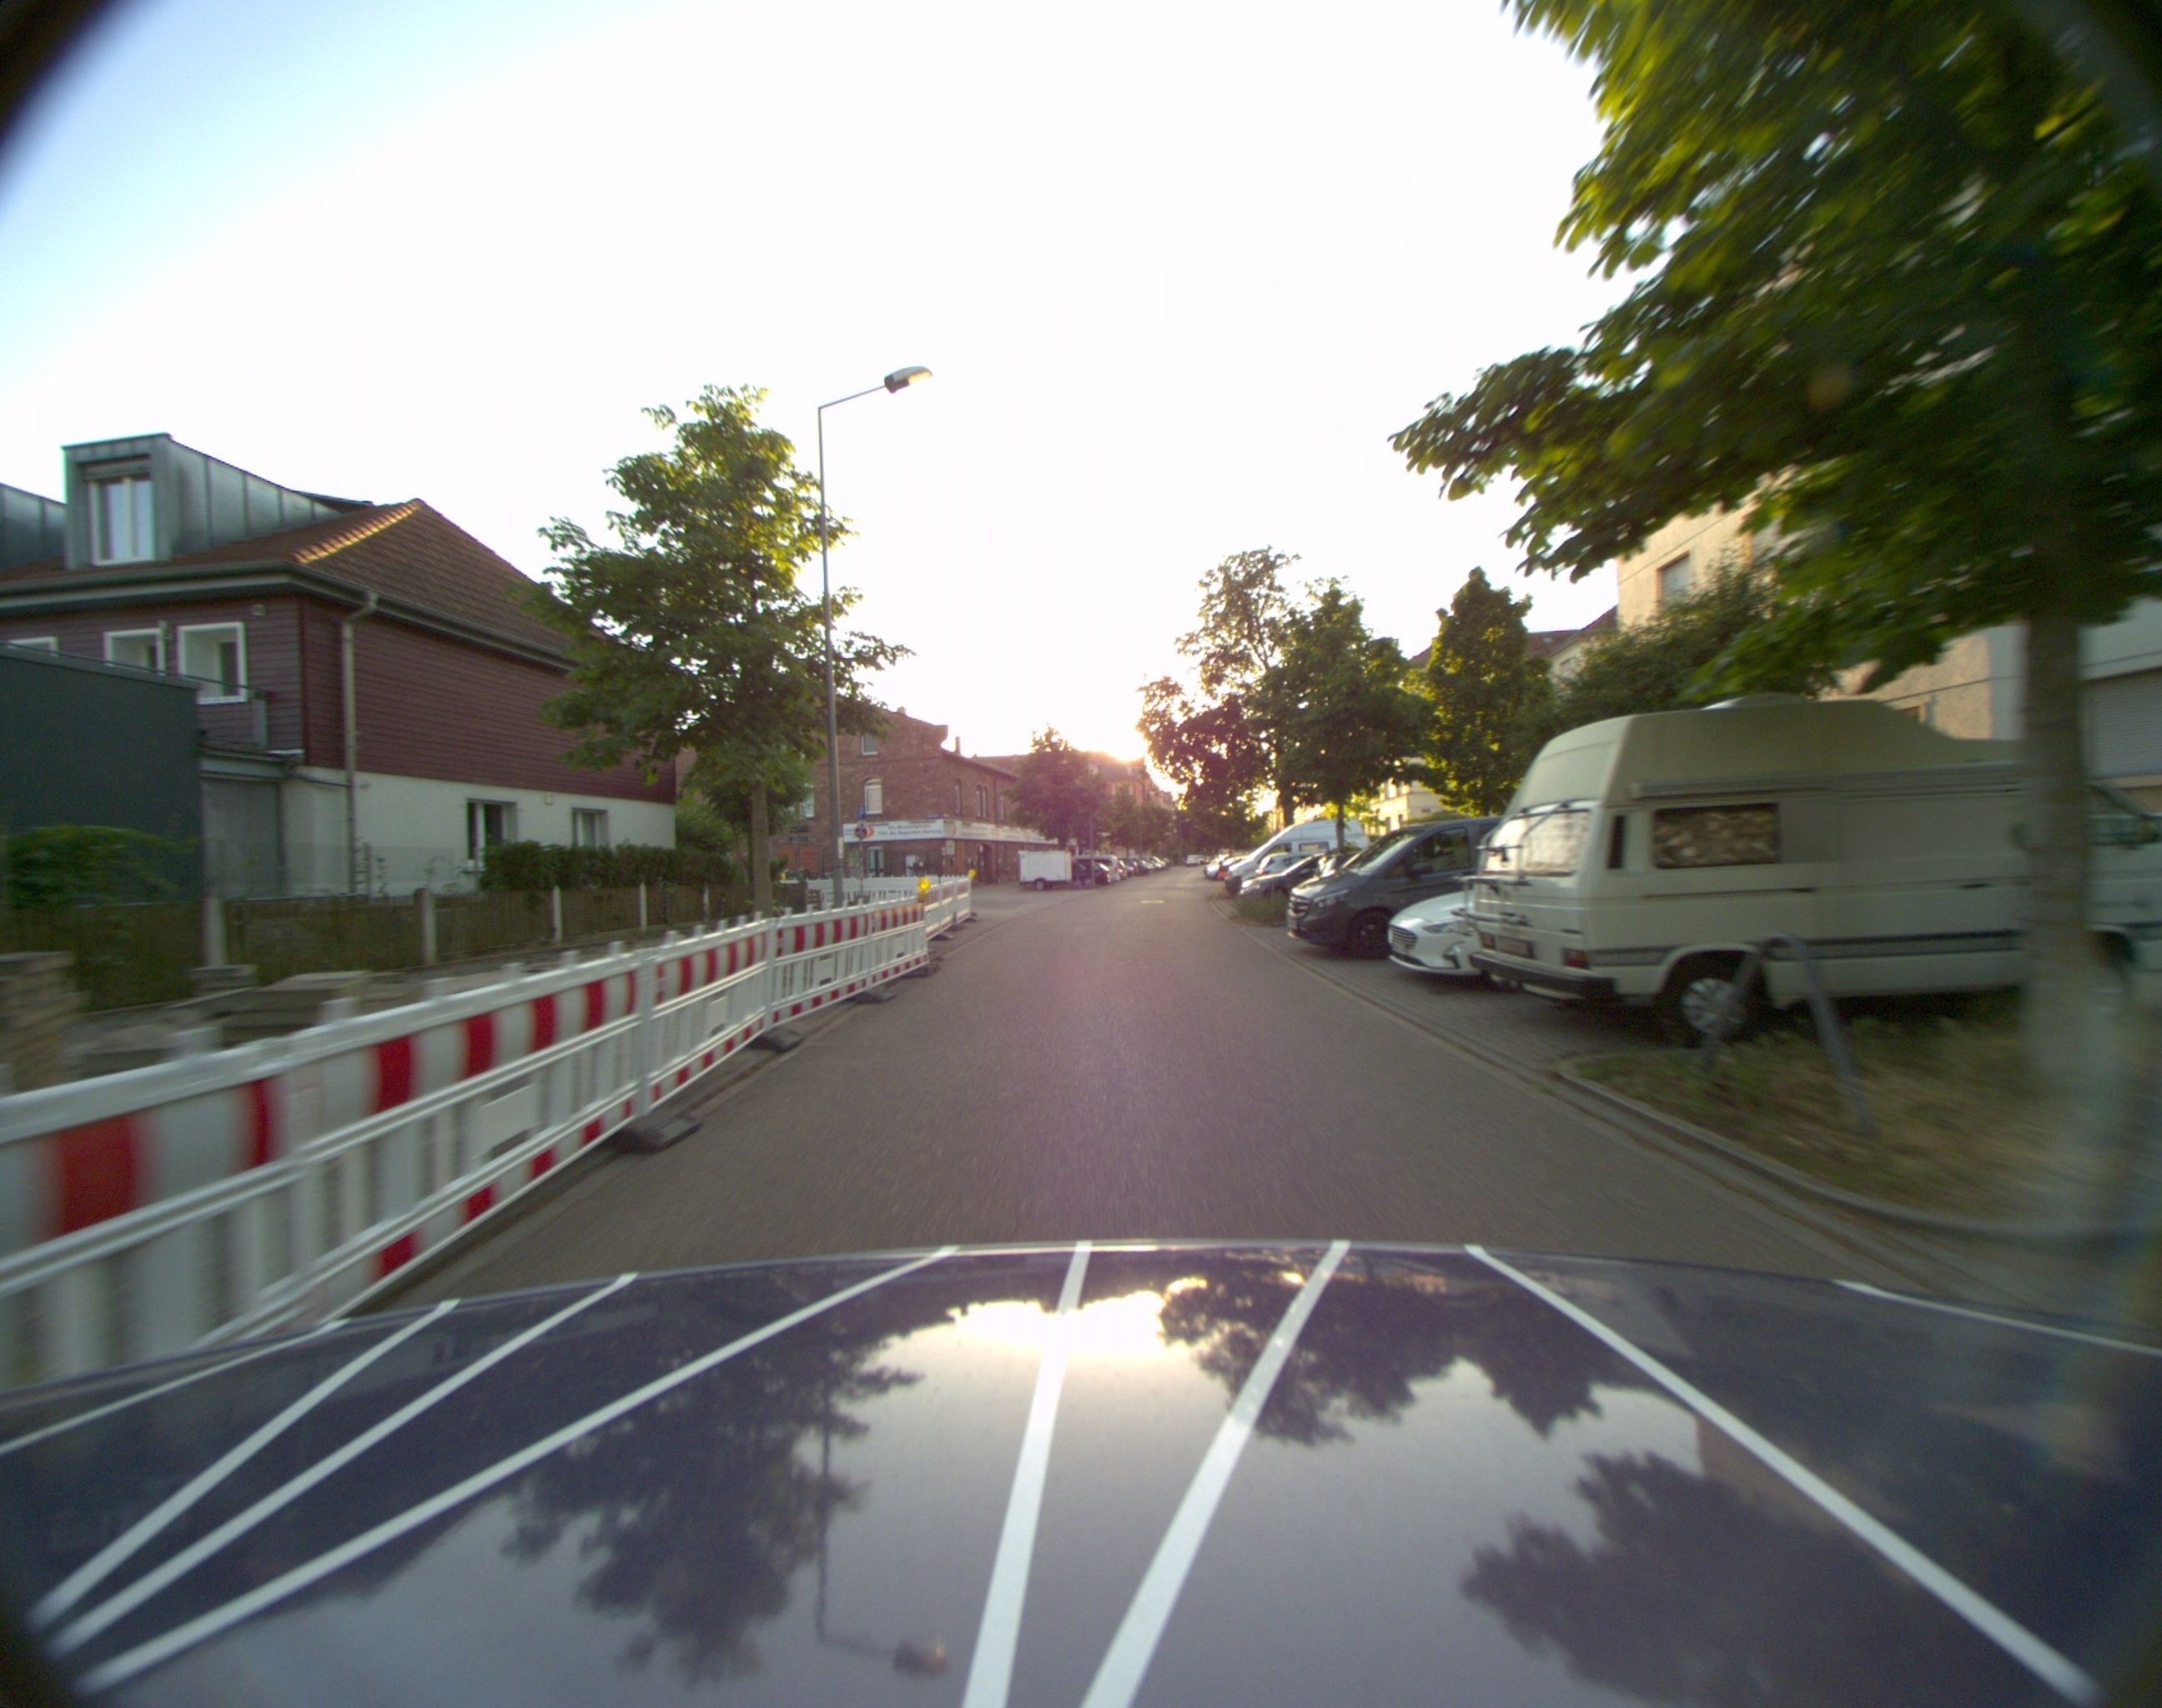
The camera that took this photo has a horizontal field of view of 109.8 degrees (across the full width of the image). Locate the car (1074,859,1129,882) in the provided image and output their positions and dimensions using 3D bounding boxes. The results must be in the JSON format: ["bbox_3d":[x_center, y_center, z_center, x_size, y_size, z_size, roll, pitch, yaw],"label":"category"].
[{"bbox_3d":[1.552,1.212,57.804,3.953,1.556,1.822,-3,0,7],"label":"car"}]

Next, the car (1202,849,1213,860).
[{"bbox_3d":[25.851,0.126,155.249,1.997,2.002,4.003,-3,0,10],"label":"car"}]

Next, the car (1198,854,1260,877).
[{"bbox_3d":[11.011,0.864,56.484,4.334,1.397,1.853,-4,-1,11],"label":"car"}]

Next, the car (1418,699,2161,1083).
[{"bbox_3d":[5.449,0.266,6.099,4.513,2.416,2.000,-3,0,3],"label":"car"}]

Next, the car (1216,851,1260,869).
[{"bbox_3d":[18.353,0.653,88.834,4.861,2.043,2.002,-1,0,14],"label":"car"}]

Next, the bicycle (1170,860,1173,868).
[{"bbox_3d":[13.021,1.371,109.045,0.357,1.093,1.973,-3,0,10],"label":"bicycle"}]

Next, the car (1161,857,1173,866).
[{"bbox_3d":[14.776,1.298,130.761,1.798,1.515,4.003,-3,0,10],"label":"car"}]

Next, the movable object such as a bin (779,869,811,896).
[{"bbox_3d":[-16.168,1.589,42.956,1.262,1.435,1.098,-3,0,12],"label":"movable object such as a bin"}]

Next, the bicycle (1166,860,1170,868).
[{"bbox_3d":[12.527,1.432,109.107,0.357,1.018,1.973,-3,0,10],"label":"bicycle"}]

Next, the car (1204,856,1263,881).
[{"bbox_3d":[10.224,0.942,51.093,3.720,1.497,1.691,-3,0,10],"label":"car"}]

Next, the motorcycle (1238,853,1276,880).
[{"bbox_3d":[10.930,0.790,47.293,2.234,1.573,0.774,-3,0,12],"label":"motorcycle"}]

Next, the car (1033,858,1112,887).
[{"bbox_3d":[-0.477,1.088,45.214,4.435,1.490,1.775,-3,0,9],"label":"car"}]

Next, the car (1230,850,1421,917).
[{"bbox_3d":[5.975,0.722,18.998,4.252,1.386,1.685,-3,0,8],"label":"car"}]

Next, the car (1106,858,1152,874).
[{"bbox_3d":[5.290,1.294,82.788,4.702,1.622,2.002,1,0,12],"label":"car"}]

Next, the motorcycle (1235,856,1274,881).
[{"bbox_3d":[10.496,0.857,46.122,2.234,1.428,0.774,-3,0,12],"label":"motorcycle"}]

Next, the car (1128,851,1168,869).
[{"bbox_3d":[9.104,0.801,102.829,4.967,2.089,2.153,-3,1,15],"label":"car"}]

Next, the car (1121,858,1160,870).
[{"bbox_3d":[7.649,1.321,97.324,4.729,1.487,2.002,0,0,10],"label":"car"}]

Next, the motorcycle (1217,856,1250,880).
[{"bbox_3d":[9.938,0.918,49.510,1.990,1.428,0.722,-3,0,5],"label":"motorcycle"}]

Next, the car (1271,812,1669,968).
[{"bbox_3d":[5.369,0.488,11.032,4.684,1.862,2.000,-3,0,2],"label":"car"}]

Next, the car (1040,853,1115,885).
[{"bbox_3d":[-0.189,0.924,47.223,4.309,1.788,1.905,-3,0,9],"label":"car"}]

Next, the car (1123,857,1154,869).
[{"bbox_3d":[7.183,1.151,94.877,3.791,1.488,1.682,0,0,9],"label":"car"}]

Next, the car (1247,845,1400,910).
[{"bbox_3d":[6.816,0.654,21.702,3.811,1.513,1.653,-4,0,6],"label":"car"}]

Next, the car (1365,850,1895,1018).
[{"bbox_3d":[5.538,0.773,8.184,4.185,1.416,2.000,-3,0,2],"label":"car"}]

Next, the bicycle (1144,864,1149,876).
[{"bbox_3d":[6.860,1.630,79.202,0.309,1.185,1.764,-3,0,10],"label":"bicycle"}]

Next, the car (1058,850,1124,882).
[{"bbox_3d":[0.664,0.759,49.940,3.994,1.892,2.001,-3,0,9],"label":"car"}]

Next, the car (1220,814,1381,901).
[{"bbox_3d":[7.117,0.121,25.097,4.741,2.554,2.001,-3,0,6],"label":"car"}]

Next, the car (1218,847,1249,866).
[{"bbox_3d":[22.818,0.388,113.722,4.409,2.541,1.933,-3,0,12],"label":"car"}]

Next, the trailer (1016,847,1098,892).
[{"bbox_3d":[-1.255,0.824,40.931,3.994,2.174,2.001,-3,0,8],"label":"trailer"}]

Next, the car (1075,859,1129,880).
[{"bbox_3d":[1.681,1.206,59.981,3.994,1.609,1.896,0,0,8],"label":"car"}]

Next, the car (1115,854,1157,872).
[{"bbox_3d":[6.345,0.969,87.639,4.593,1.851,2.014,2,1,12],"label":"car"}]

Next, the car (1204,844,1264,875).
[{"bbox_3d":[12.314,0.469,61.202,4.520,2.057,2.002,-5,-2,13],"label":"car"}]

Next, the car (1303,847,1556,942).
[{"bbox_3d":[6.174,0.701,13.787,3.777,1.430,1.656,-3,0,3],"label":"car"}]

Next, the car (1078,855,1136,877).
[{"bbox_3d":[2.259,1.023,65.369,4.794,1.743,2.019,1,-1,9],"label":"car"}]

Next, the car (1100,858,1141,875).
[{"bbox_3d":[4.082,1.280,78.022,3.993,1.537,1.846,1,1,10],"label":"car"}]

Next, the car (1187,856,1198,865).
[{"bbox_3d":[19.019,1.142,129.696,1.731,1.367,3.766,-3,0,10],"label":"car"}]
